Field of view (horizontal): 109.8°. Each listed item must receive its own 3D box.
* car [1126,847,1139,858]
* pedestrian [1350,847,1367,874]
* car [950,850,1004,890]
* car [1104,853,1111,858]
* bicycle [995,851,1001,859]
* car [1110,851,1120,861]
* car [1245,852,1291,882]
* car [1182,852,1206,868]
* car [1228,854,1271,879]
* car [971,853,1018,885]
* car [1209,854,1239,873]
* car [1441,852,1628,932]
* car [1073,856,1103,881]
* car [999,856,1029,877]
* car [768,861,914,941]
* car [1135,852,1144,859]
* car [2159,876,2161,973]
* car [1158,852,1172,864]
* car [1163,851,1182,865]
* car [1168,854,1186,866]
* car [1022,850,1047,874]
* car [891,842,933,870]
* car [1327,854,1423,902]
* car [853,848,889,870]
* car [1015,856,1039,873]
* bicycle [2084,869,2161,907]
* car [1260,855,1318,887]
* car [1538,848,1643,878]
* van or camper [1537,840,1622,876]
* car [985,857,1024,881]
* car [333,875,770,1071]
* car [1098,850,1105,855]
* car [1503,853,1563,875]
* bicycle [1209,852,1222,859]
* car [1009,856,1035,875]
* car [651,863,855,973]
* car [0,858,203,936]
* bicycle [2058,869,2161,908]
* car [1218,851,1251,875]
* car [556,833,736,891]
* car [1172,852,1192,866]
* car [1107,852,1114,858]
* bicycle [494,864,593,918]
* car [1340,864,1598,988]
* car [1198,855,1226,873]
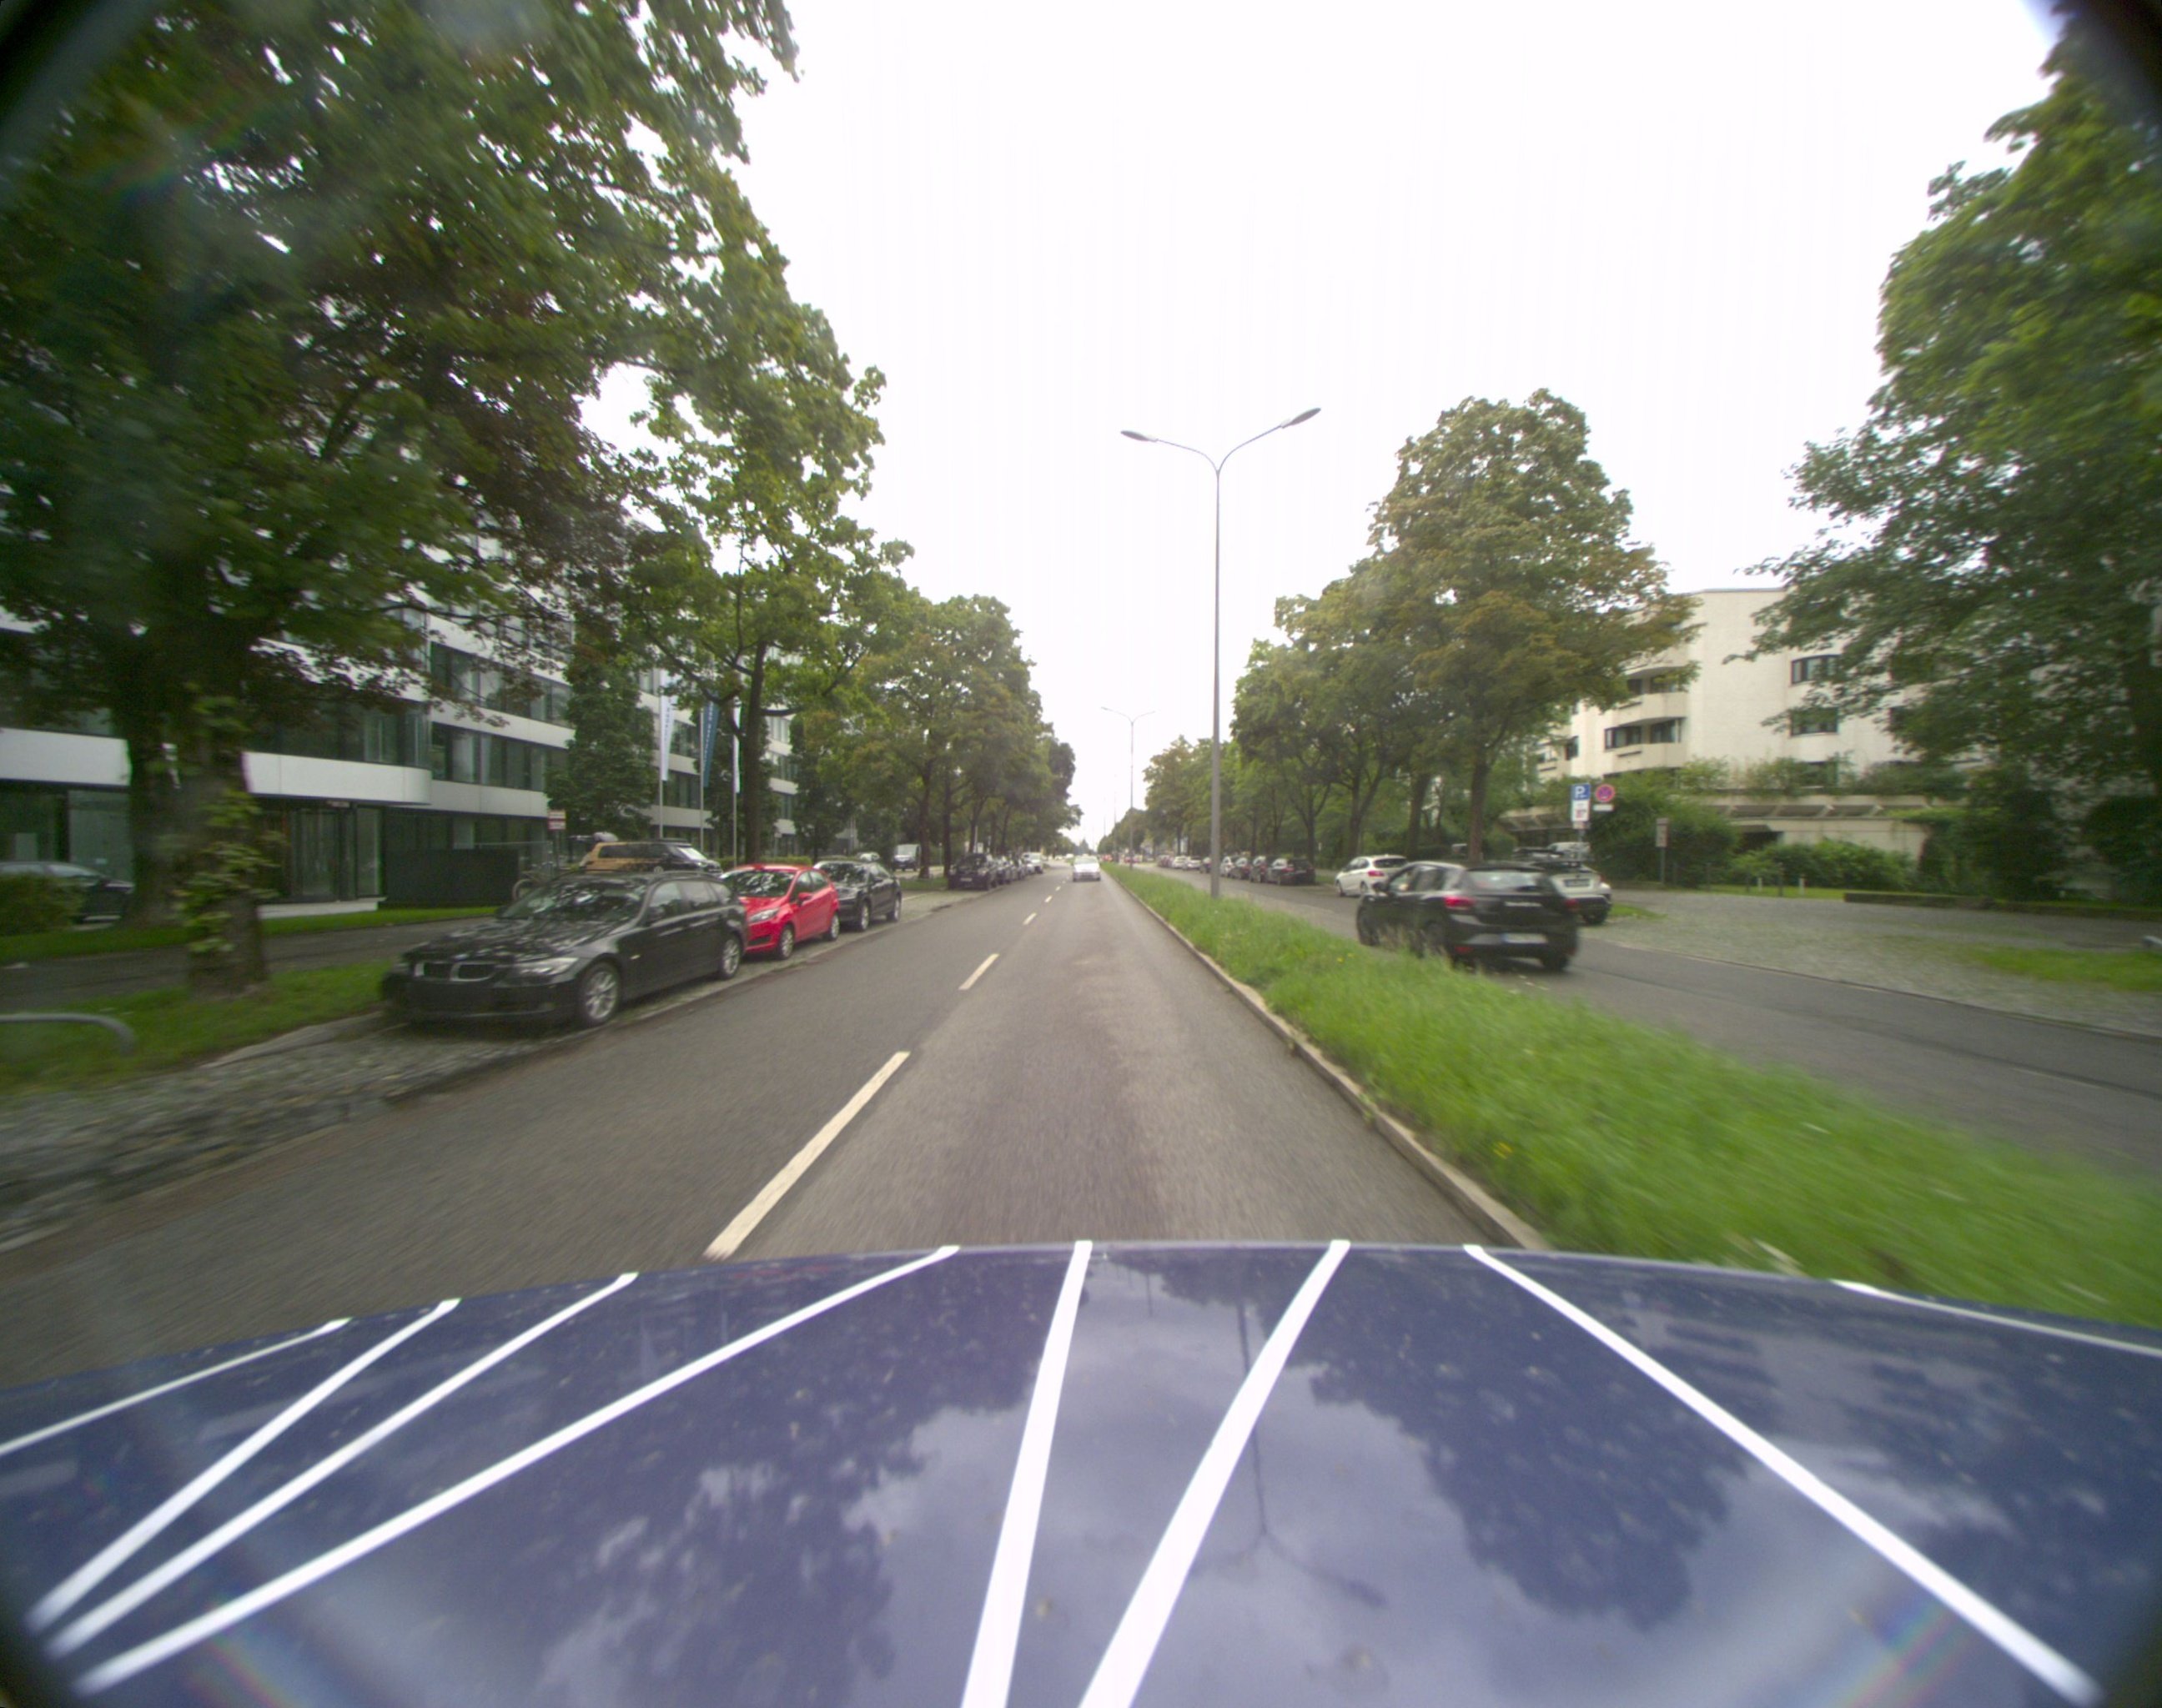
[{"bbox_3d":[10.068,-0.299,149.594,2.215,2.181,5.799,0,0,0],"label":"car"},{"bbox_3d":[16.997,0.390,46.533,0.850,1.646,0.609,0,1,7],"label":"pedestrian"},{"bbox_3d":[-4.942,0.714,36.632,1.897,1.789,4.861,0,0,0],"label":"car"},{"bbox_3d":[7.580,0.401,217.333,1.920,1.475,4.863,0,0,-2],"label":"car"},{"bbox_3d":[-13.082,0.106,119.620,0.531,1.219,1.862,2,-1,5],"label":"bicycle"},{"bbox_3d":[6.958,0.362,156.050,1.785,2.017,4.818,0,0,0],"label":"car"},{"bbox_3d":[11.004,0.729,45.015,1.689,1.588,4.210,-2,0,1],"label":"car"},{"bbox_3d":[11.679,0.604,79.047,1.741,1.440,4.822,-3,0,0],"label":"car"},{"bbox_3d":[11.128,0.787,50.428,1.720,1.515,5.034,-3,0,0],"label":"car"},{"bbox_3d":[-4.784,0.785,42.630,1.817,1.666,4.800,0,0,3],"label":"car"},{"bbox_3d":[11.295,0.715,60.291,1.629,1.415,4.192,-3,0,2],"label":"car"},{"bbox_3d":[10.565,0.803,18.162,1.837,1.600,4.491,-2,0,1],"label":"car"},{"bbox_3d":[0.439,0.840,45.400,1.679,1.434,3.734,0,0,1],"label":"car"},{"bbox_3d":[-4.758,0.853,54.645,1.706,1.413,4.121,0,0,1],"label":"car"},{"bbox_3d":[-5.315,0.966,17.433,1.783,1.502,4.285,2,0,3],"label":"car"},{"bbox_3d":[13.623,0.393,177.543,1.651,1.480,3.901,0,0,-1],"label":"car"},{"bbox_3d":[10.643,0.933,5.348,1.695,1.556,3.079,-3,0,-1],"label":"car"},{"bbox_3d":[12.127,0.547,110.143,1.651,1.605,3.819,-1,0,2],"label":"car"},{"bbox_3d":[11.912,0.487,98.923,1.743,1.642,4.605,-2,0,-1],"label":"car"},{"bbox_3d":[11.872,0.729,93.911,1.743,1.474,4.334,-2,0,1],"label":"car"},{"bbox_3d":[-4.351,0.687,71.939,1.992,2.145,5.555,0,0,1],"label":"car"},{"bbox_3d":[-14.301,0.147,64.760,2.271,2.293,6.267,0,0,-1],"label":"car"},{"bbox_3d":[10.755,0.819,28.190,1.761,1.585,4.489,-2,0,0],"label":"car"},{"bbox_3d":[-17.686,0.384,64.219,1.847,1.807,4.471,0,0,-1],"label":"car"},{"bbox_3d":[-4.658,0.878,65.607,1.706,1.389,4.232,0,0,1],"label":"car"},{"bbox_3d":[26.768,0.860,19.377,0.459,0.895,1.450,0,0,1],"label":"bicycle"},{"bbox_3d":[10.935,0.826,40.264,1.764,1.504,4.947,-2,0,1],"label":"car"},{"bbox_3d":[25.151,0.434,37.610,3.987,1.409,1.862,0,0,-1],"label":"car"},{"bbox_3d":[27.337,0.197,41.835,1.861,1.860,4.431,0,0,1],"label":"van or camper"},{"bbox_3d":[-4.794,0.923,48.151,1.705,1.400,4.513,1,0,3],"label":"car"},{"bbox_3d":[-5.337,1.050,8.594,1.679,1.445,4.582,2,0,1],"label":"car"},{"bbox_3d":[6.566,-0.560,242.368,1.962,1.471,4.259,0,0,1],"label":"car"},{"bbox_3d":[24.559,0.521,41.383,1.459,1.192,3.127,0,0,1],"label":"car"},{"bbox_3d":[20.347,0.274,114.931,1.766,1.001,0.436,0,1,0],"label":"bicycle"},{"bbox_3d":[-4.608,0.880,59.841,1.706,1.438,3.978,0,0,1],"label":"car"},{"bbox_3d":[-5.356,0.952,13.018,1.679,1.492,4.021,2,0,1],"label":"car"},{"bbox_3d":[-22.807,0.883,16.824,2.023,1.539,4.048,0,0,0],"label":"car"},{"bbox_3d":[26.147,0.855,19.272,0.478,0.895,1.766,0,0,1],"label":"bicycle"},{"bbox_3d":[11.225,0.643,55.771,1.629,1.638,3.867,-3,0,1],"label":"car"},{"bbox_3d":[-16.150,0.270,28.464,5.484,2.071,2.147,0,1,0],"label":"car"},{"bbox_3d":[11.737,0.538,88.641,1.743,1.521,4.475,-2,0,1],"label":"car"},{"bbox_3d":[7.679,0.329,200.374,1.770,1.615,4.376,0,0,1],"label":"car"},{"bbox_3d":[-12.806,0.854,18.199,0.750,1.176,2.246,0,0,1],"label":"bicycle"},{"bbox_3d":[5.429,0.902,11.338,1.743,1.432,4.215,0,0,1],"label":"car"},{"bbox_3d":[11.265,0.805,65.633,1.584,1.415,4.362,-3,0,0],"label":"car"}]
